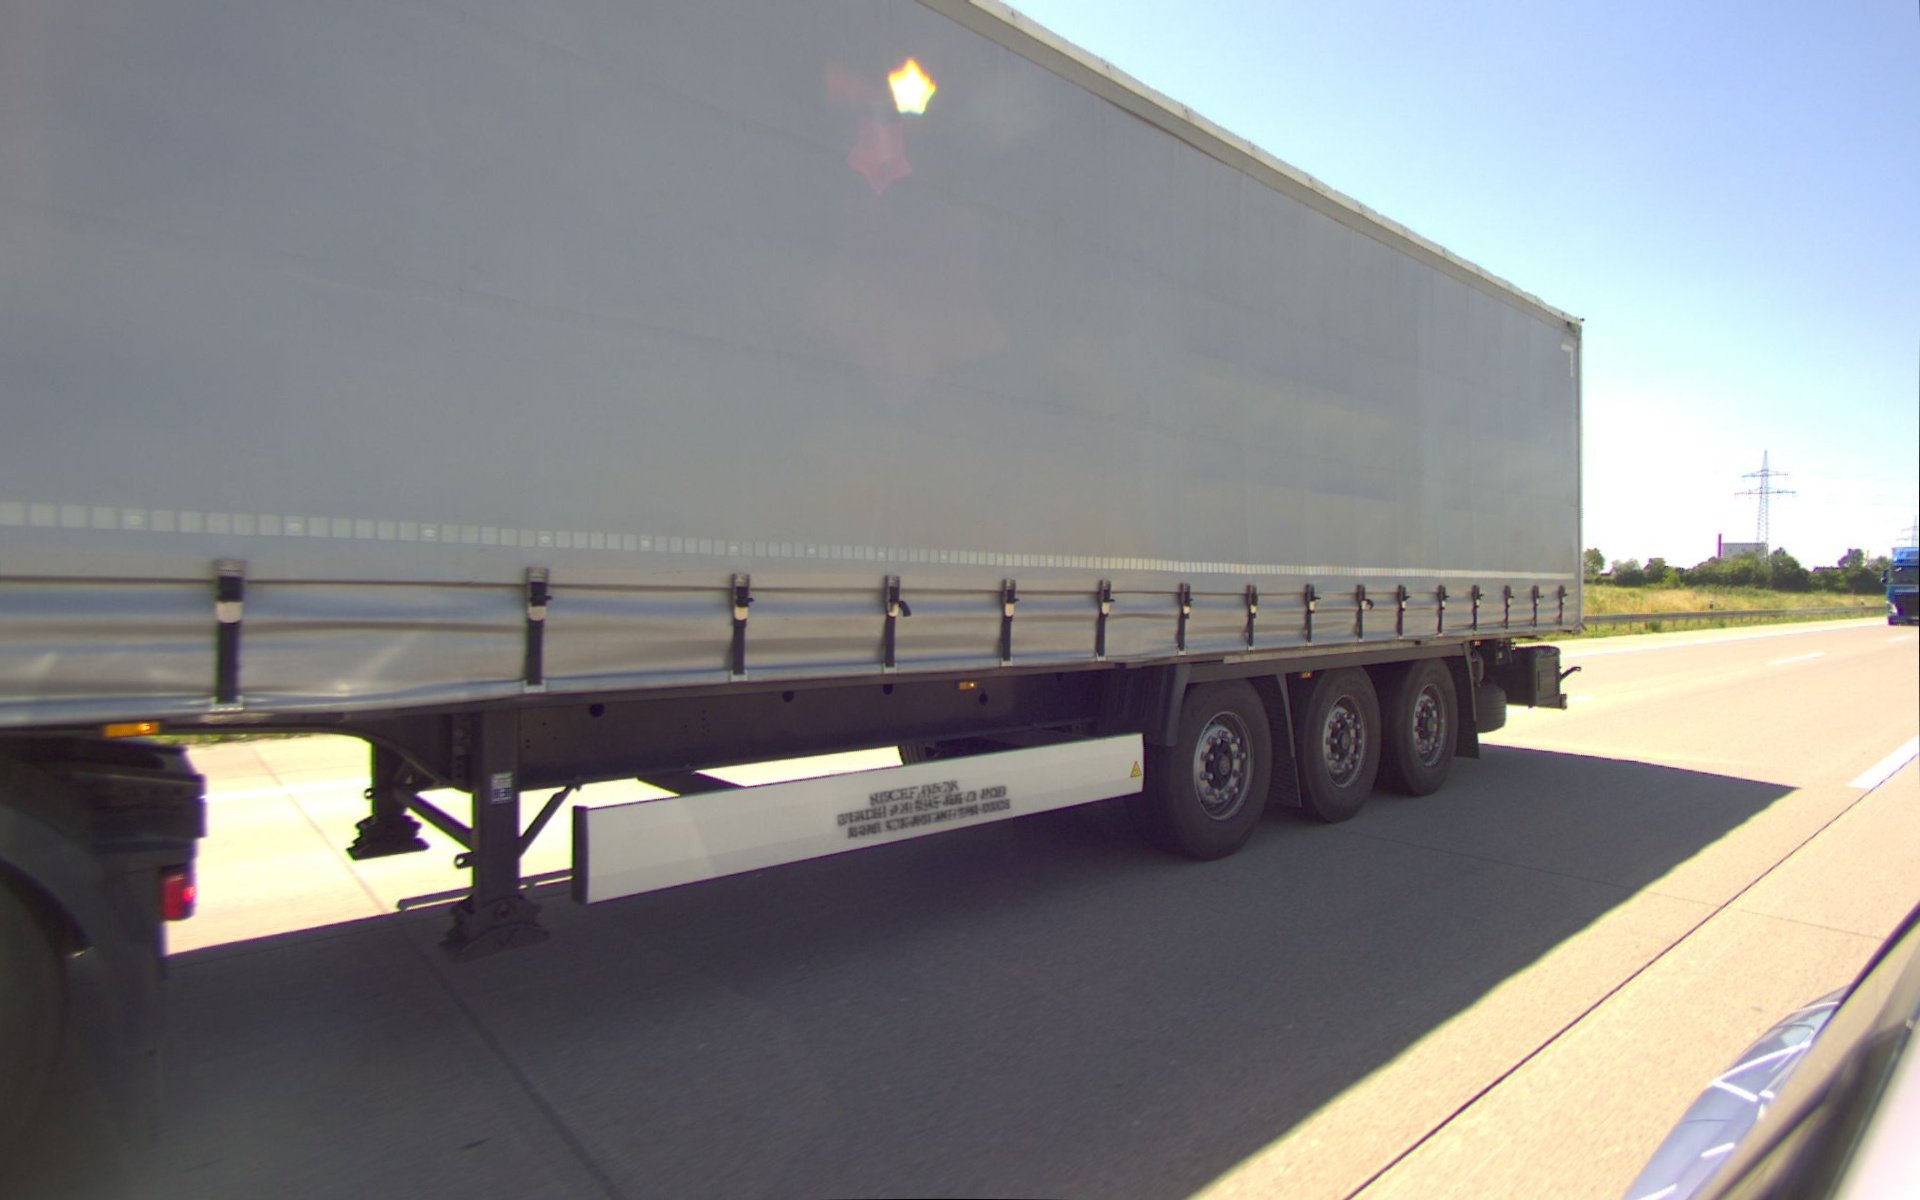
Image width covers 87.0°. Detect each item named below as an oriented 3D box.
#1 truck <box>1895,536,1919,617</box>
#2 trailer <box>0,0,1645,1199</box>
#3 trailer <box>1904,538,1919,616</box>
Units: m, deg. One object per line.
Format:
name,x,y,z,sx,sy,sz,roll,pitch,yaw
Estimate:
truck,50.758,-1.201,52.435,5.369,4.095,2.755,0,0,-40
trailer,0.459,-0.686,6.390,13.960,4.112,3.022,0,0,-41
trailer,55.709,-1.235,56.683,12.674,4.095,2.714,0,0,-40
